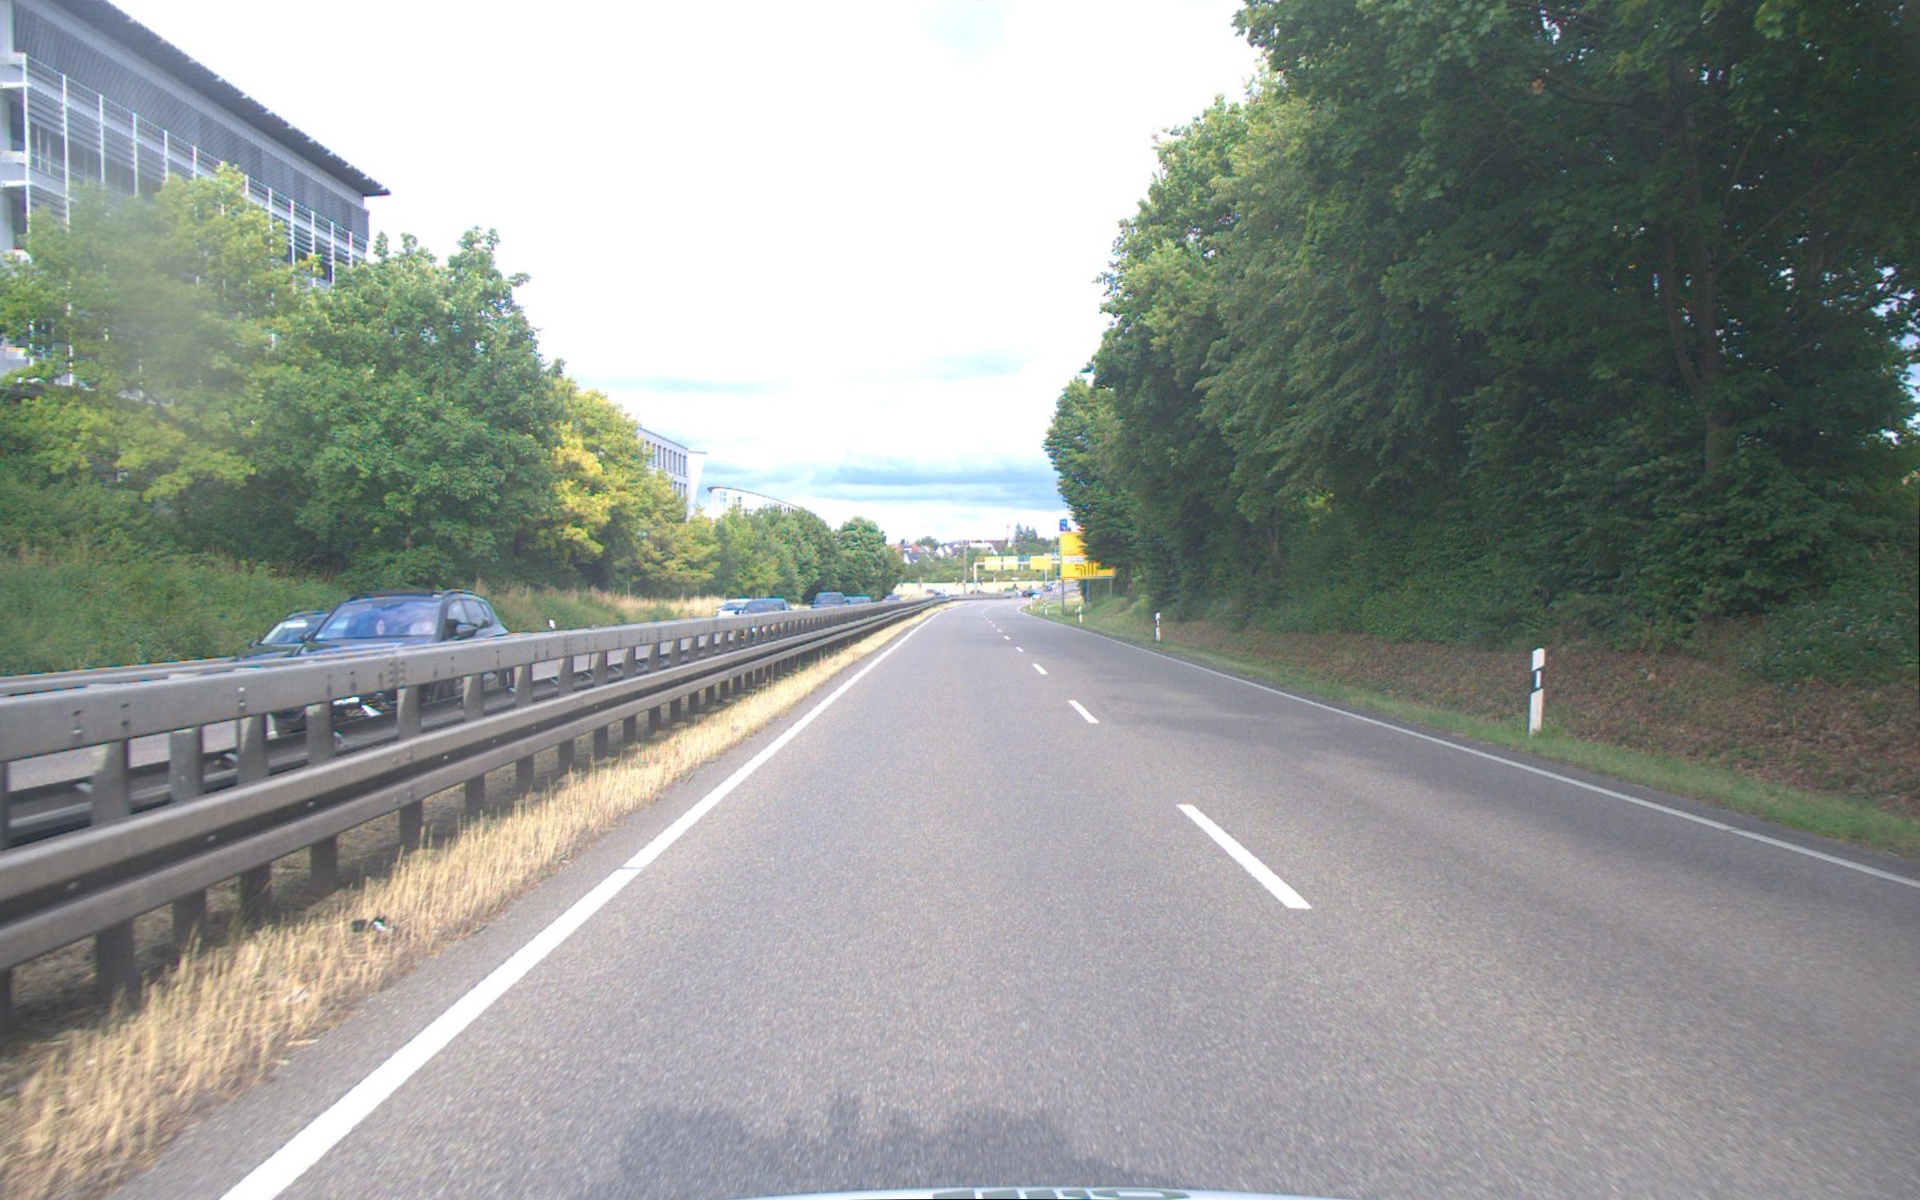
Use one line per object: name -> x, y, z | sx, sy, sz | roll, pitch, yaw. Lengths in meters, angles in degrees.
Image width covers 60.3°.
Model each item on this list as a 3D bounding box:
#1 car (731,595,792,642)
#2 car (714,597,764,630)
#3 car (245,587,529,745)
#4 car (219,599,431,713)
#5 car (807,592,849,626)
car -> -6.608, 0.593, 55.347 | 1.559, 1.472, 4.000 | -1, 0, 0
car -> -10.334, 0.621, 77.453 | 1.780, 1.511, 4.416 | 0, 0, -1
car -> -6.499, 0.673, 19.284 | 1.783, 1.611, 4.316 | -1, 0, 0
car -> -9.916, 0.809, 26.190 | 1.707, 1.617, 4.311 | -1, 0, -1
car -> -6.692, 0.425, 84.502 | 1.707, 1.673, 5.279 | -1, 0, 0
